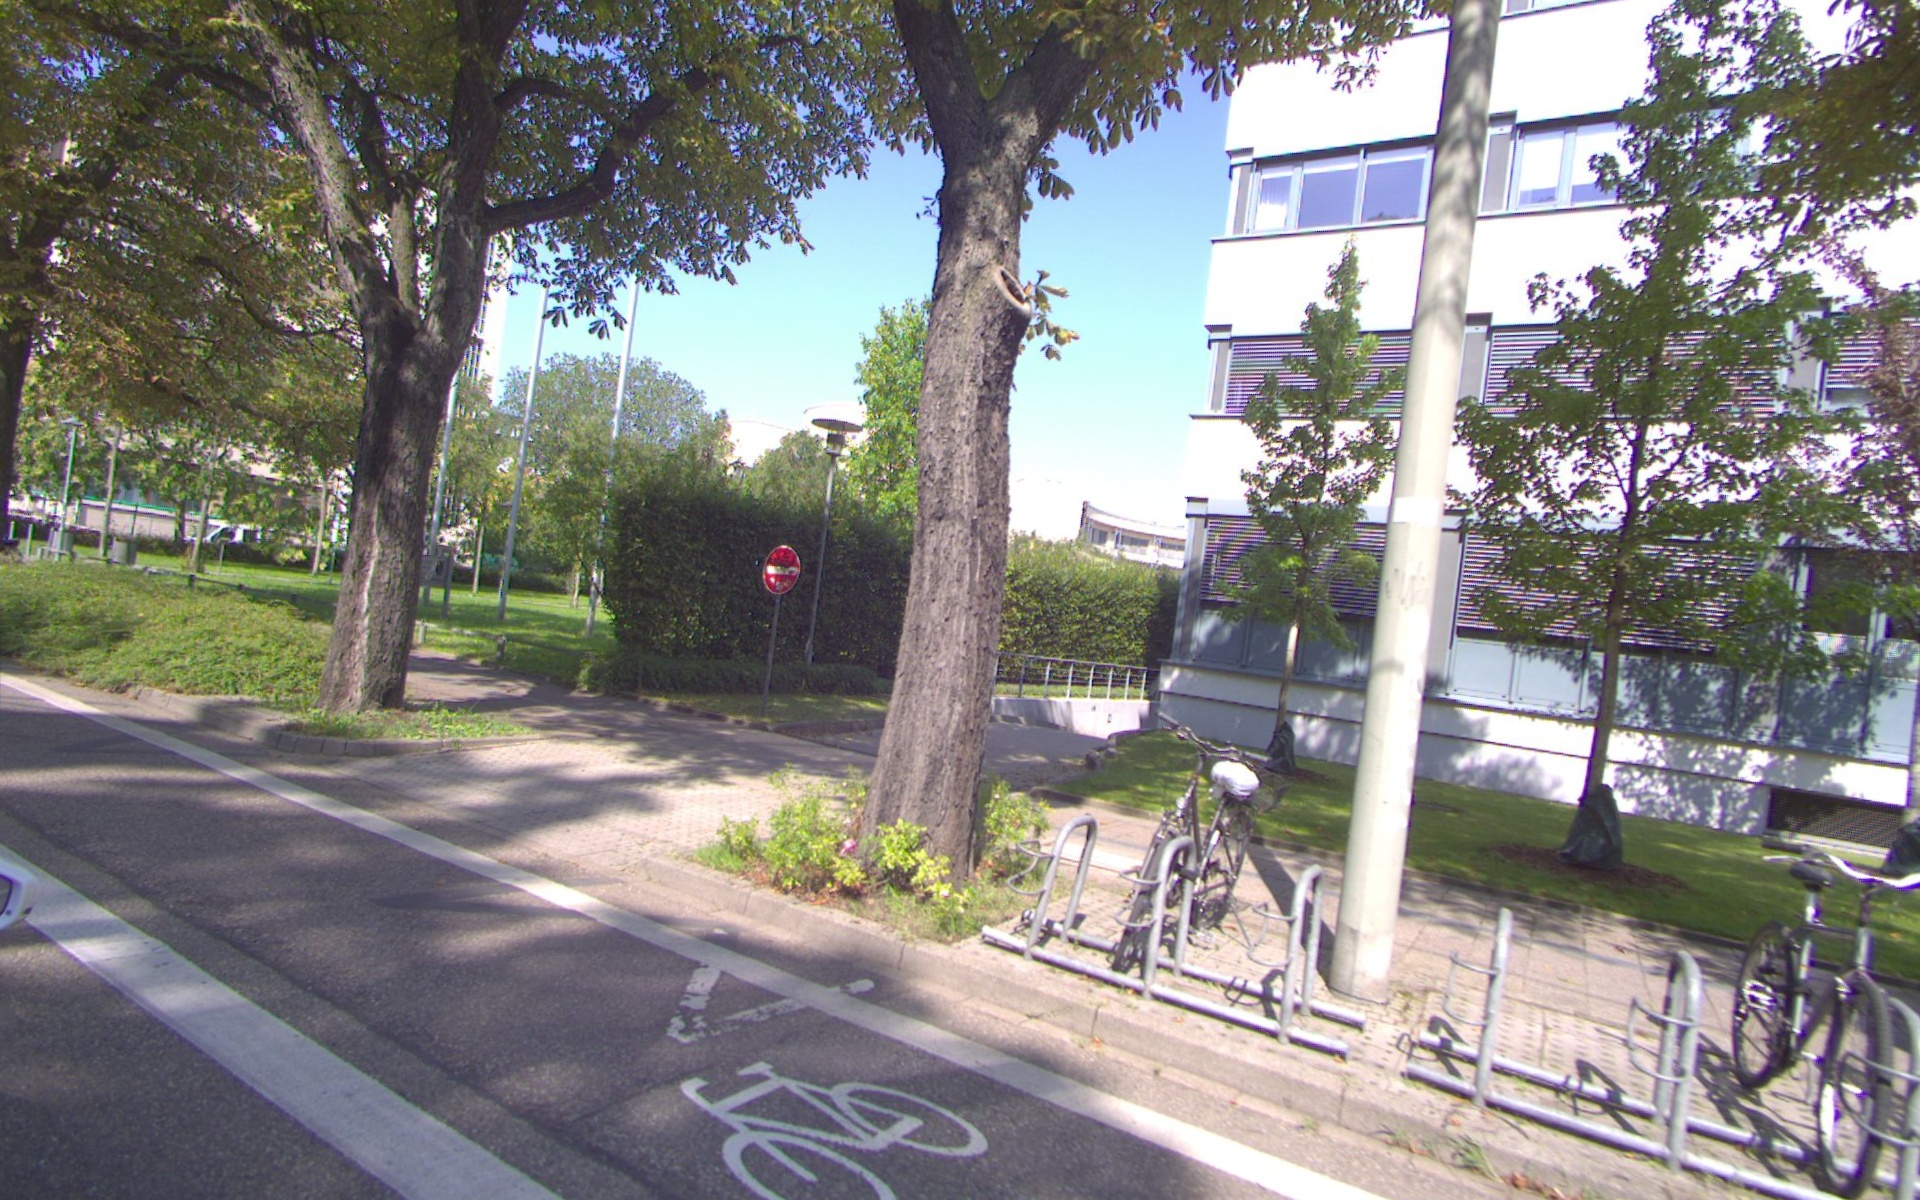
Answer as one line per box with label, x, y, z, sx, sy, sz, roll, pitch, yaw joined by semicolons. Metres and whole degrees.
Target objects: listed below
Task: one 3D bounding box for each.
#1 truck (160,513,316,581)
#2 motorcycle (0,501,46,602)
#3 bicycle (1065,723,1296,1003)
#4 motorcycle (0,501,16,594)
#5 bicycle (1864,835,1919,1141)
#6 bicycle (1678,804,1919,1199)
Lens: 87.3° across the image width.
truck;-34.976;-2.522;48.911;2.261;2.352;5.517;7;-2;33
motorcycle;-15.928;-0.908;15.521;2.421;1.533;0.849;8;-1;-21
bicycle;1.205;1.226;5.165;0.531;1.062;1.774;7;-1;30
motorcycle;-17.205;-1.038;16.628;2.408;1.533;0.854;7;-1;7
bicycle;3.818;1.516;3.512;0.531;1.062;1.774;7;-1;30
bicycle;3.277;1.458;3.900;0.531;1.062;1.774;7;-1;30
